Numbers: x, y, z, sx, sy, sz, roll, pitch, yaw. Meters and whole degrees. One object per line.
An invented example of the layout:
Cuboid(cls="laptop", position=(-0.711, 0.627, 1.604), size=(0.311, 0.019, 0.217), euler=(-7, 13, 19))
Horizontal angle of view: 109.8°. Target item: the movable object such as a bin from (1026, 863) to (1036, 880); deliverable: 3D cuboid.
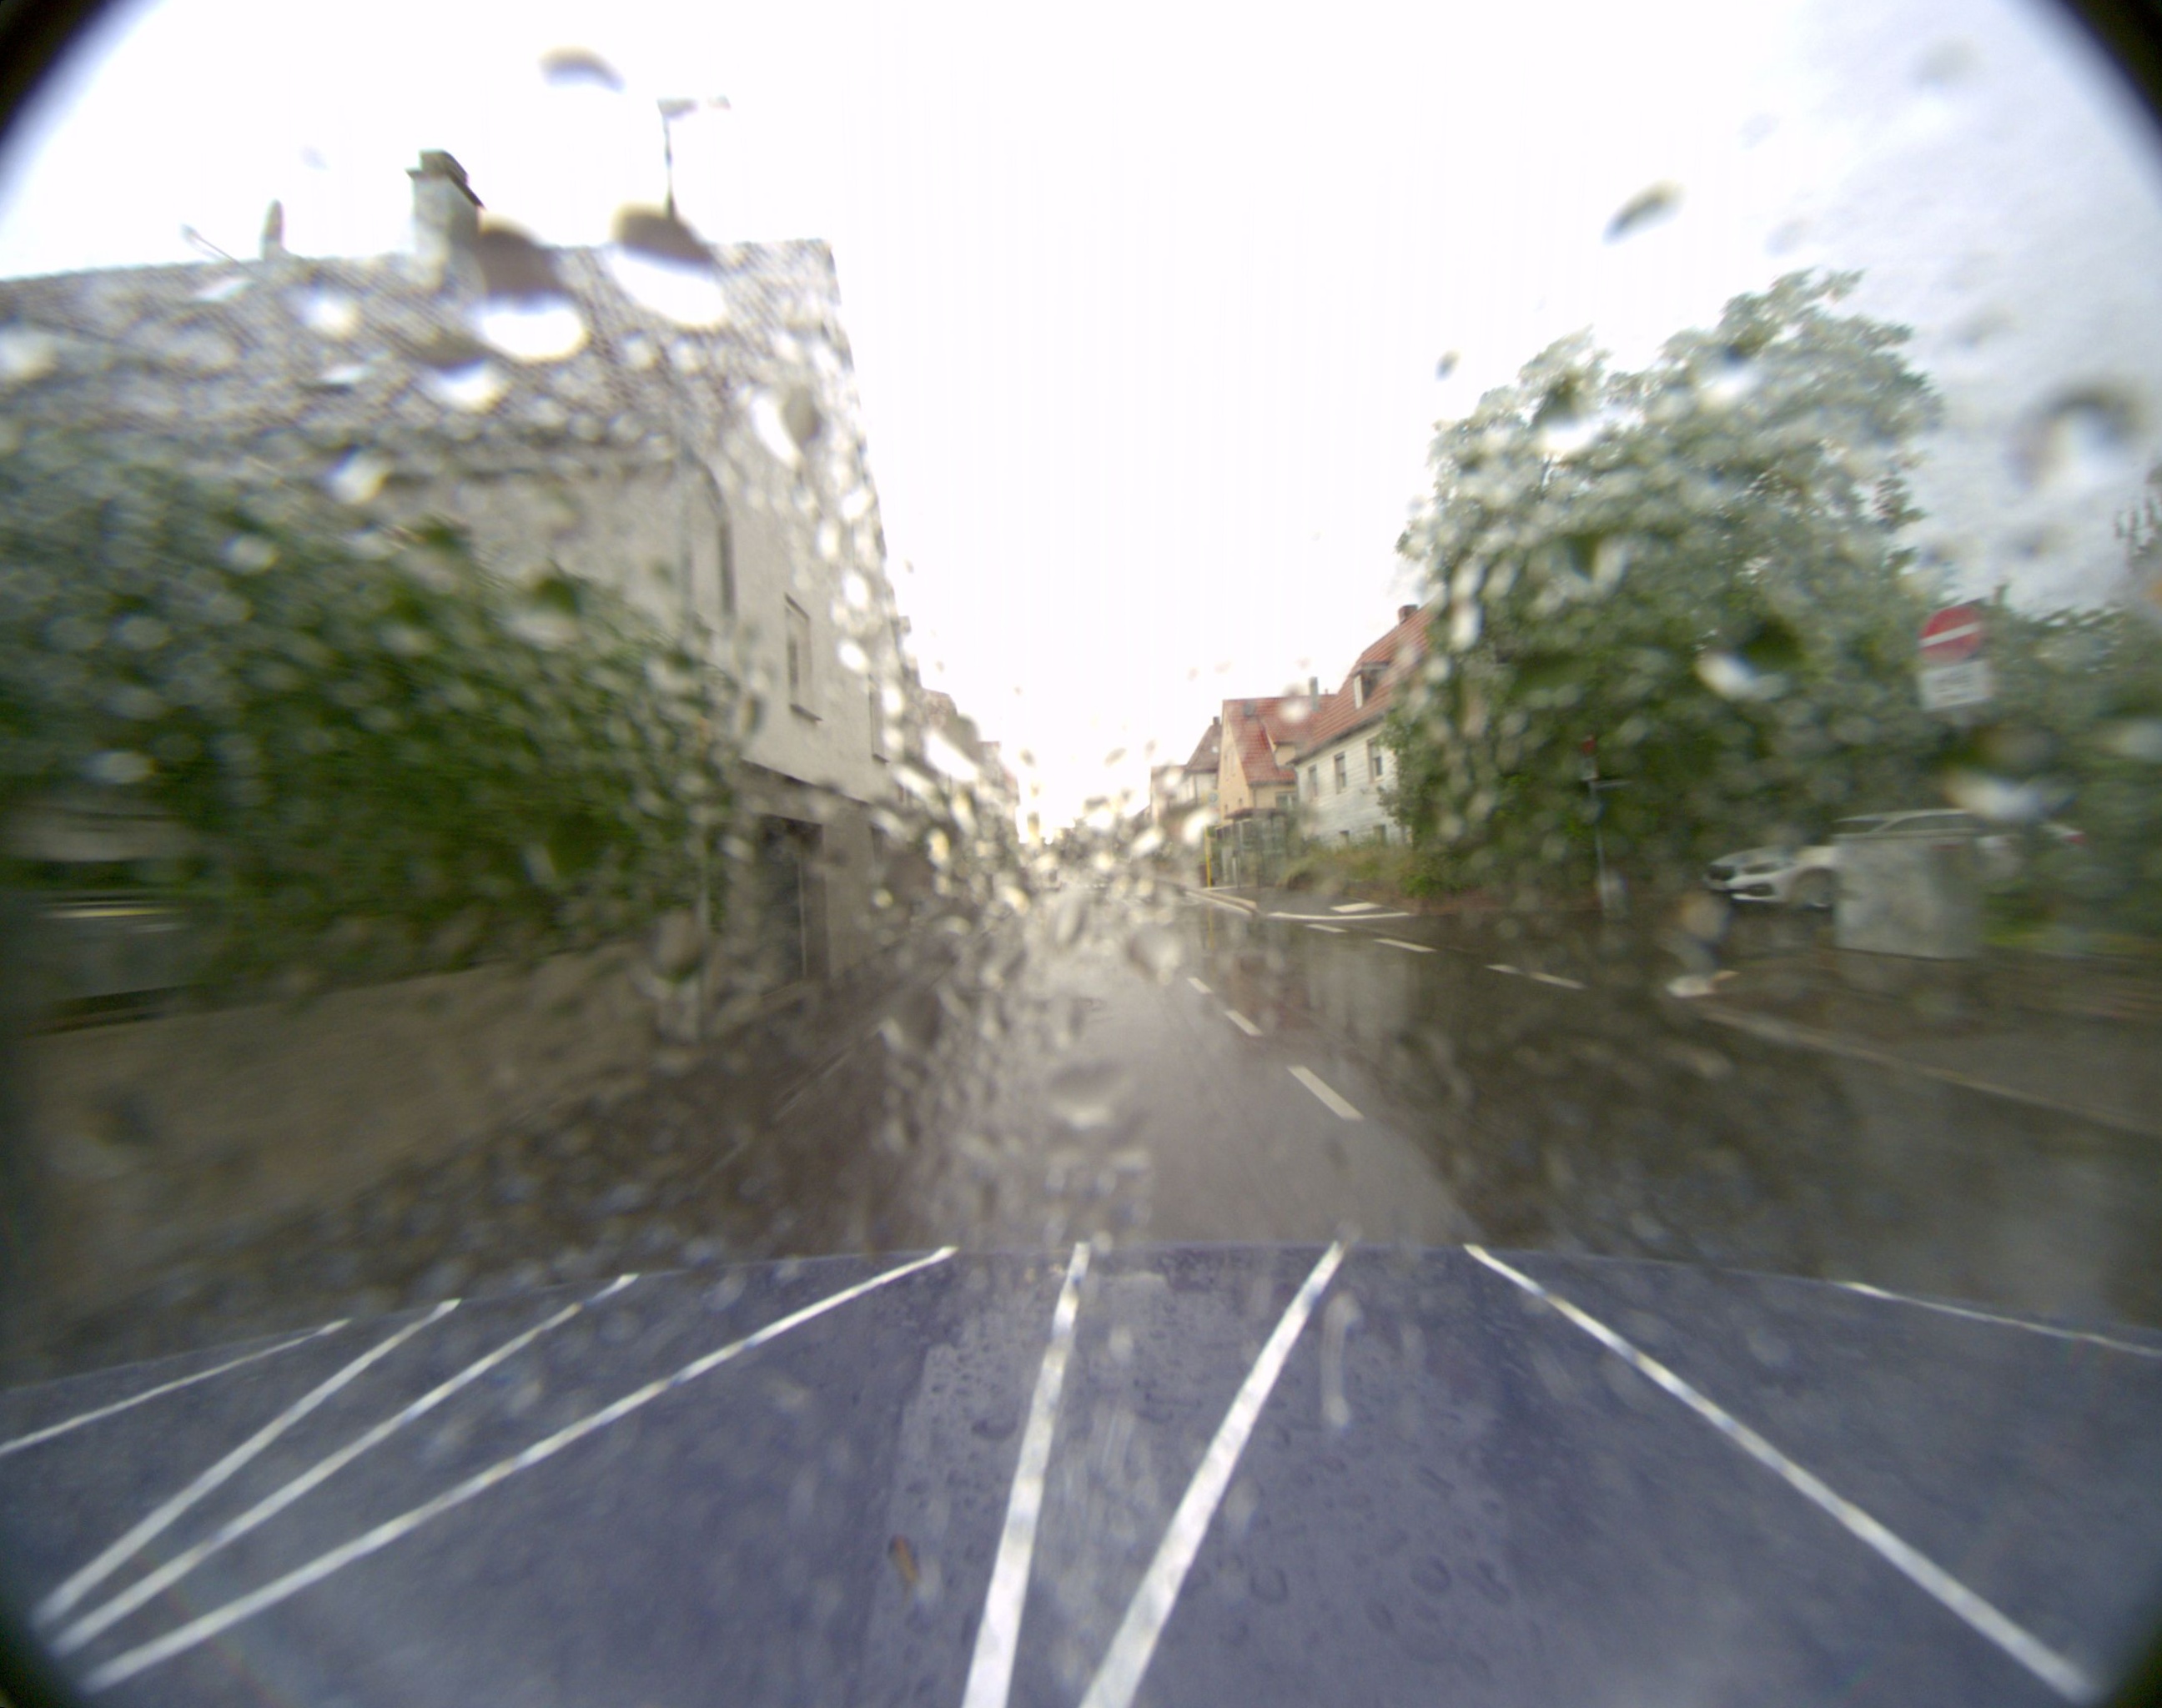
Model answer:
Cuboid(cls="movable object such as a bin", position=(-3.211, 1.101, 48.470), size=(0.569, 1.070, 0.537), euler=(-3, 0, -2))

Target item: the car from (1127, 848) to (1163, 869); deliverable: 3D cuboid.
Cuboid(cls="car", position=(8.072, 0.534, 95.492), size=(3.999, 1.963, 1.873), euler=(9, 0, -3))

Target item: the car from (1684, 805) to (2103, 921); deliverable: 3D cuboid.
Cuboid(cls="car", position=(12.458, 0.160, 11.990), size=(4.233, 1.410, 1.718), euler=(-4, 0, 13))

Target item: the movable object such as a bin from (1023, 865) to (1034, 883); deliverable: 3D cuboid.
Cuboid(cls="movable object such as a bin", position=(-3.282, 1.228, 47.560), size=(0.569, 1.070, 0.523), euler=(-3, 0, -2))

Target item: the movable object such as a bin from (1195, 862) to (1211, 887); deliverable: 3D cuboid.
Cuboid(cls="movable object such as a bin", position=(4.988, 0.839, 31.095), size=(0.469, 0.933, 0.455), euler=(-7, -2, 2))

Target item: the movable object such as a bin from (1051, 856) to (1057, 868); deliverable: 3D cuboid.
Cuboid(cls="movable object such as a bin", position=(-2.693, 0.800, 76.124), size=(0.569, 1.179, 0.537), euler=(-2, 0, -2))

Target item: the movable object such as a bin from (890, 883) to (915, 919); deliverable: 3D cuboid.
Cuboid(cls="movable object such as a bin", position=(-4.669, 1.223, 19.872), size=(0.494, 0.899, 0.476), euler=(-3, 0, 0))

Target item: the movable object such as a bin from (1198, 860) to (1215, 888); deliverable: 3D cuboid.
Cuboid(cls="movable object such as a bin", position=(5.245, 0.834, 31.765), size=(0.554, 1.076, 0.527), euler=(-6, 0, 2))
